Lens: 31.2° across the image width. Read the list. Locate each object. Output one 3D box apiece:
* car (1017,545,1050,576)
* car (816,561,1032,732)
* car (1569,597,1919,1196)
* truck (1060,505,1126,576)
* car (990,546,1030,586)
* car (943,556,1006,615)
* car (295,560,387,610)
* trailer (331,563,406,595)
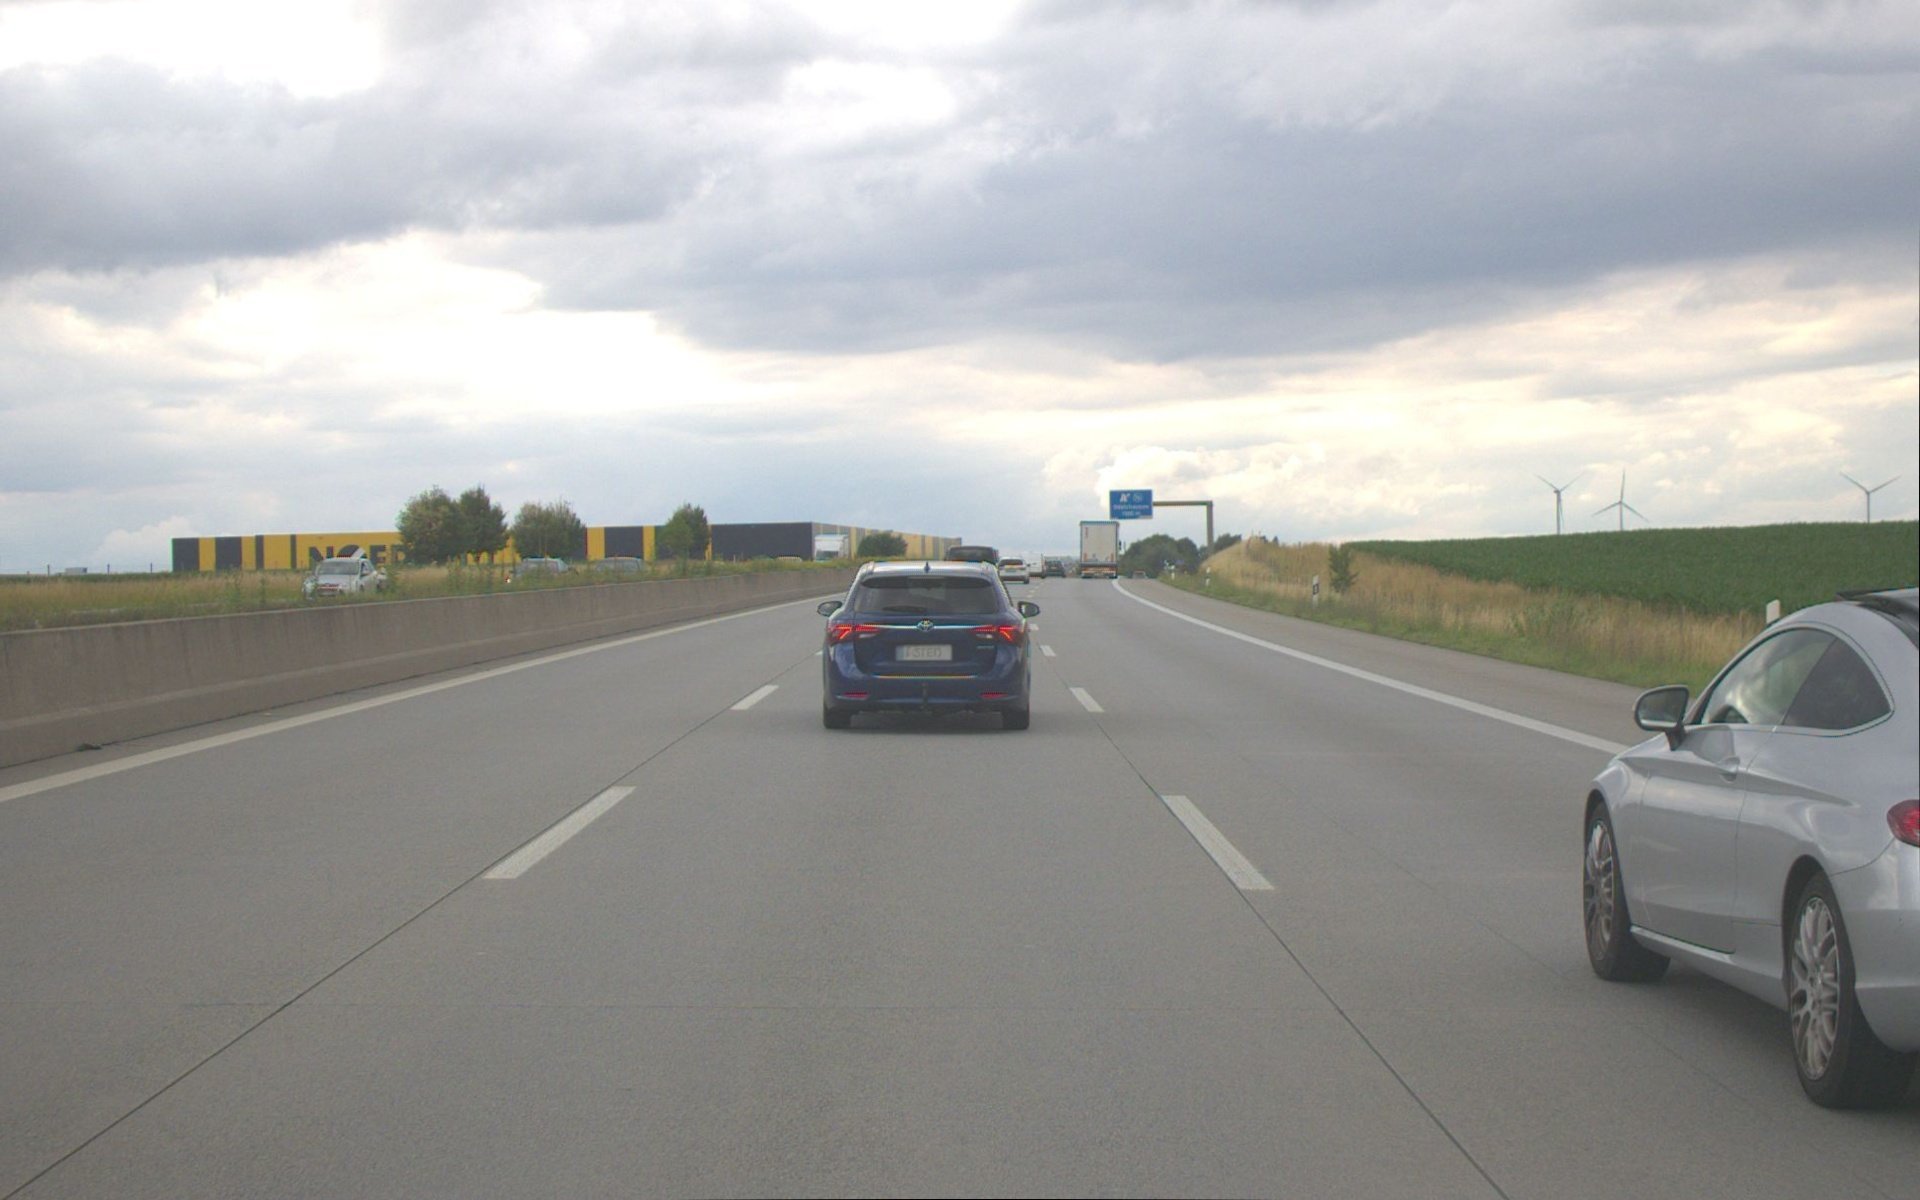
[{"bbox_3d":[4.952,-2.634,232.106,1.993,2.007,4.000,1,0,-1],"label":"car"},{"bbox_3d":[-0.341,0.369,30.412,1.774,1.408,4.000,0,0,-1],"label":"car"},{"bbox_3d":[3.138,0.711,10.320,1.788,1.399,4.221,0,0,-1],"label":"car"},{"bbox_3d":[9.389,-4.172,244.500,3.950,4.740,12.076,1,0,-1],"label":"truck"},{"bbox_3d":[2.626,-1.801,182.134,1.993,2.007,4.000,2,1,0],"label":"car"},{"bbox_3d":[0.502,-0.501,121.587,1.993,2.007,4.000,1,0,-3],"label":"car"},{"bbox_3d":[-19.156,-0.457,106.576,1.897,1.465,4.850,1,0,0],"label":"car"},{"bbox_3d":[-19.044,-0.655,110.793,1.787,0.980,3.563,1,0,0],"label":"trailer"}]
